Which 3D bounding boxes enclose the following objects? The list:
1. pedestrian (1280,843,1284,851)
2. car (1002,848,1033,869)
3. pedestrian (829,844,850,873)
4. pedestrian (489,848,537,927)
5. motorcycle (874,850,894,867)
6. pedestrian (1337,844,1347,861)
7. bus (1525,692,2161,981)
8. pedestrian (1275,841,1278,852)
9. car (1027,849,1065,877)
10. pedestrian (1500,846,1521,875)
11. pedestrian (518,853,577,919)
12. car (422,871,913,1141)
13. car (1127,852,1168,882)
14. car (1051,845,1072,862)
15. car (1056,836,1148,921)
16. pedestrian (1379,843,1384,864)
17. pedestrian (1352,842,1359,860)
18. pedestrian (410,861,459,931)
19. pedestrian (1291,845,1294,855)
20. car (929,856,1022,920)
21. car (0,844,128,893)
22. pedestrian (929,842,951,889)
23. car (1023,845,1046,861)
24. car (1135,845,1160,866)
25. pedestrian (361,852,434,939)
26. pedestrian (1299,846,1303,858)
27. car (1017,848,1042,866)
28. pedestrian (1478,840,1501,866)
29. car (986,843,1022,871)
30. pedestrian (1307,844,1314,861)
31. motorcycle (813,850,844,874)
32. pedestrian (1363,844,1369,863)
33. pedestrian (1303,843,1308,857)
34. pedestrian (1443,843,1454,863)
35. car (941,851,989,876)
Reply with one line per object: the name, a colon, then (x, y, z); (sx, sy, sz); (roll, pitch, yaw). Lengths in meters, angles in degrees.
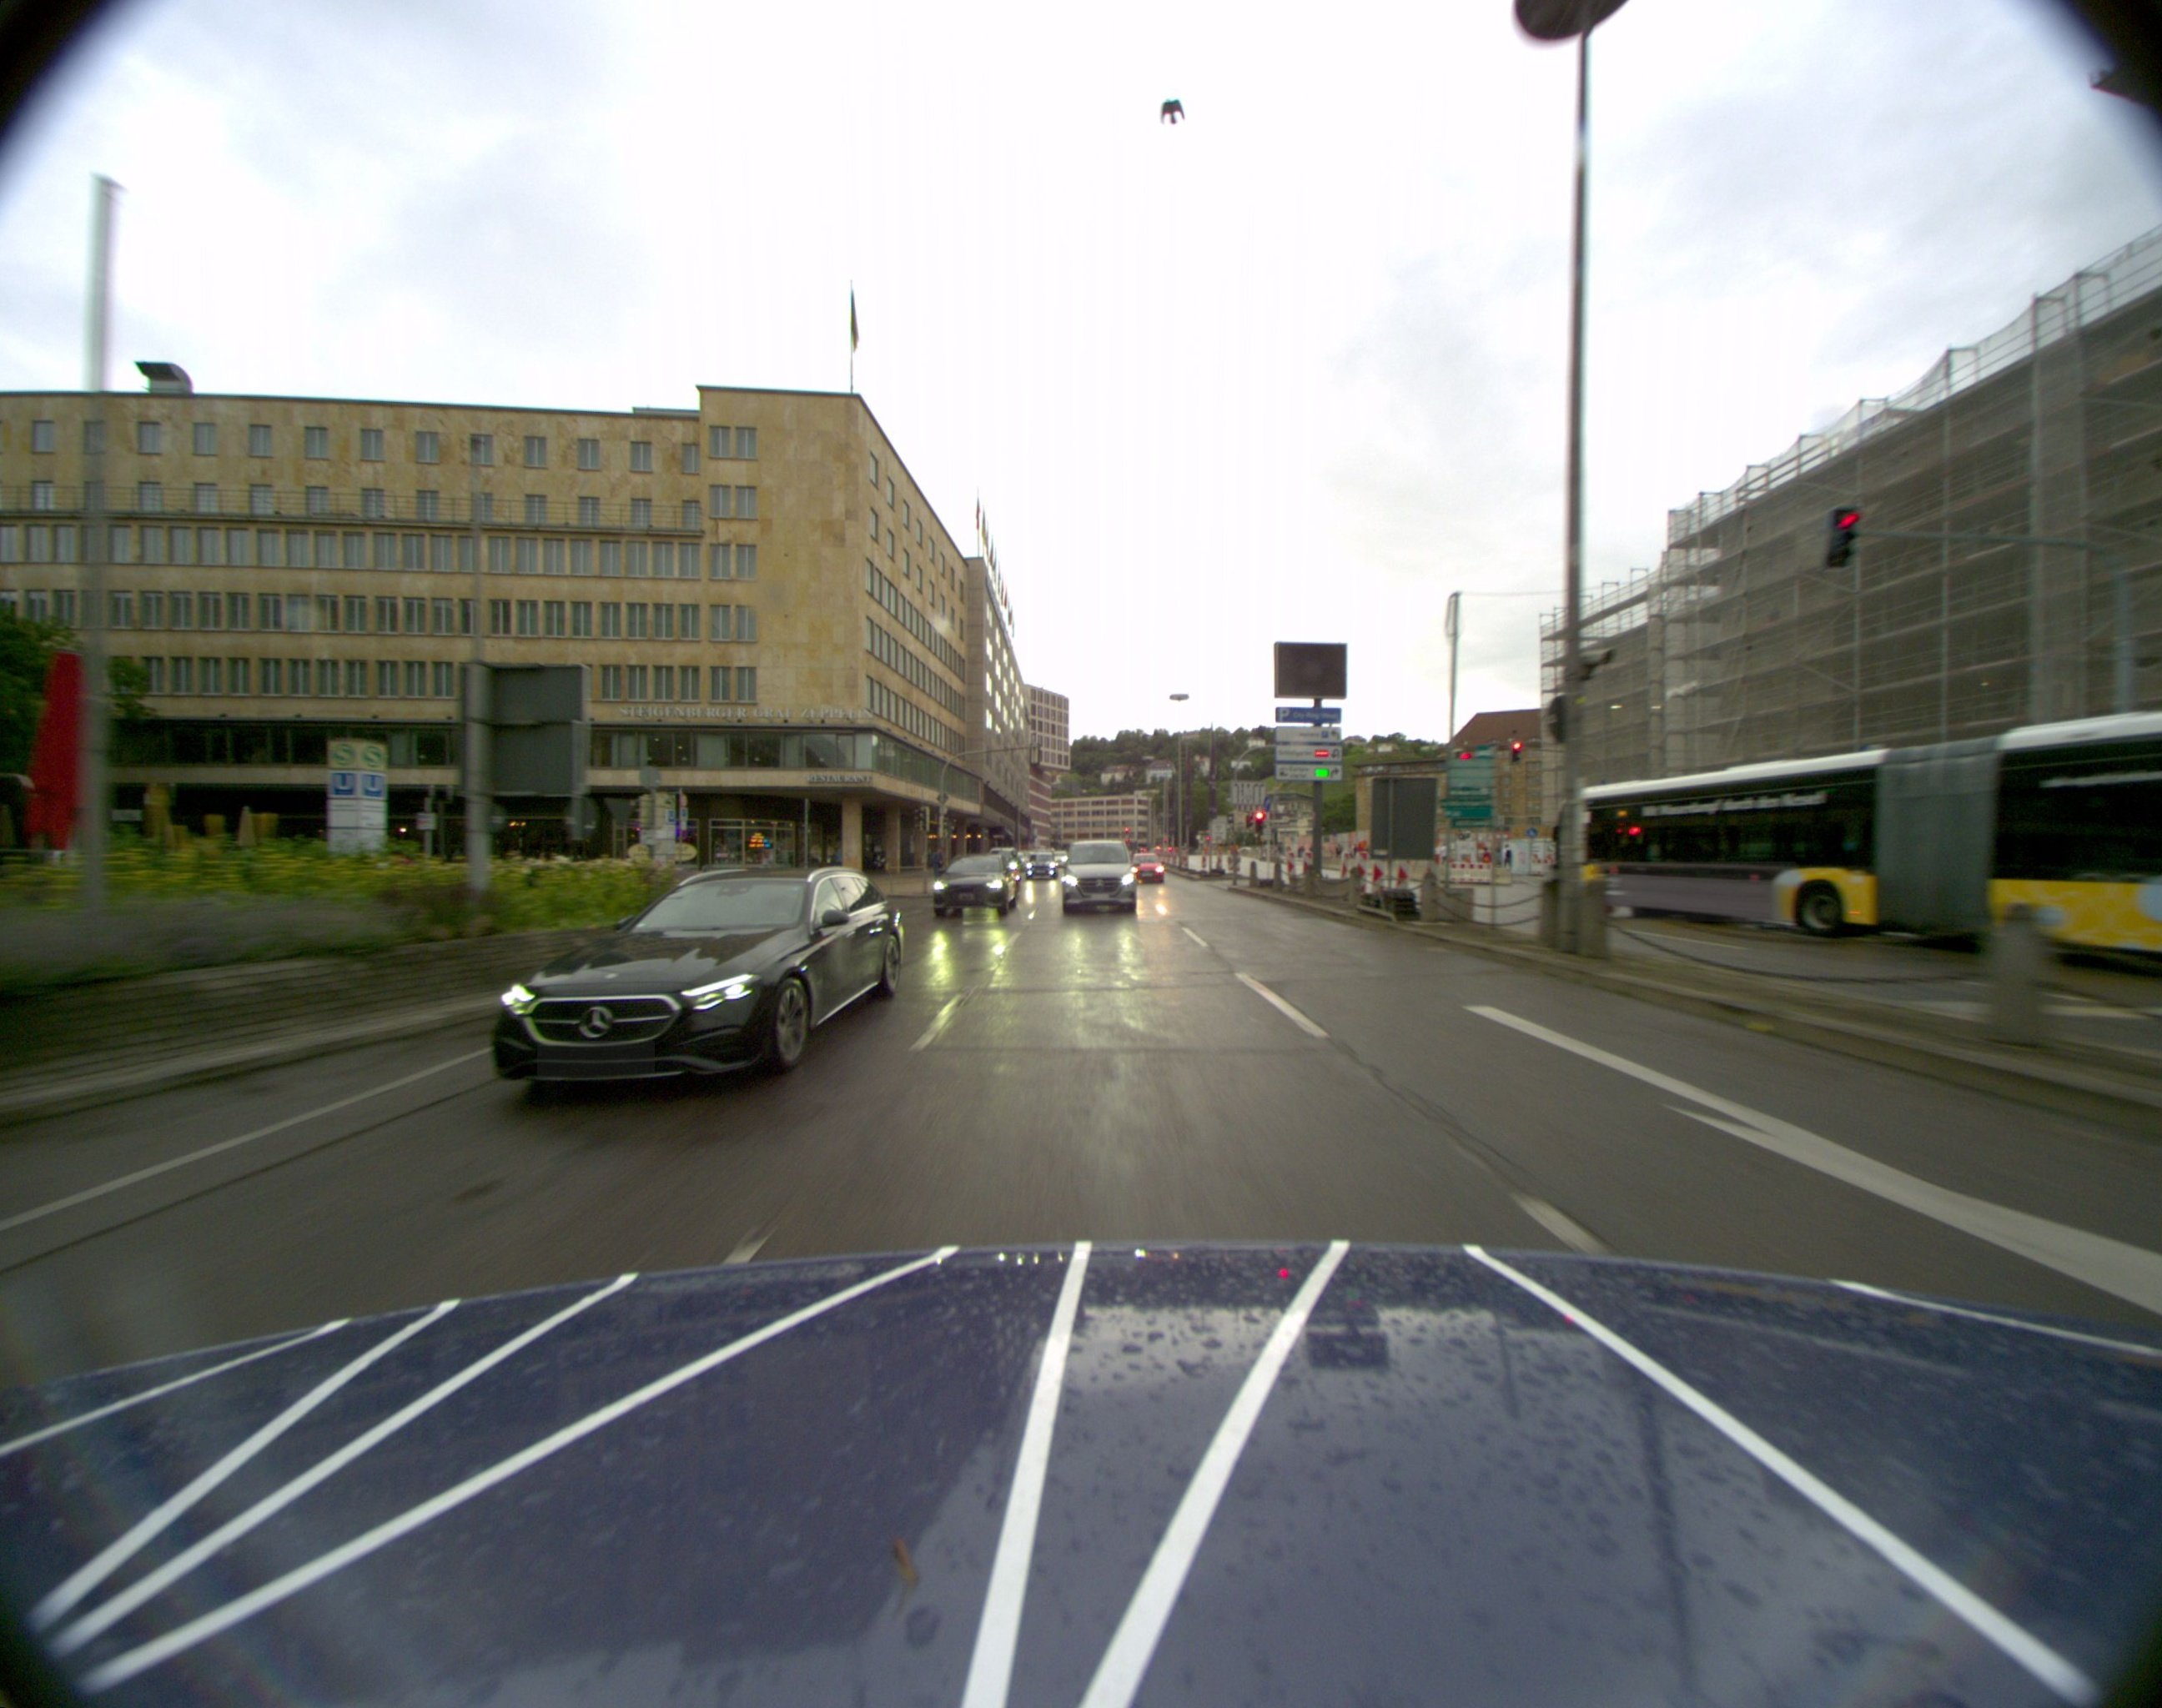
pedestrian: (30.531, -1.039, 115.412); (0.438, 1.233, 0.413); (-1, 1, 3)
car: (-5.064, 0.334, 60.922); (1.998, 1.644, 5.134); (-1, 0, 1)
pedestrian: (-15.562, 0.271, 48.966); (1.000, 1.836, 1.109); (0, 1, 2)
pedestrian: (-13.152, 0.759, 17.619); (0.536, 1.780, 0.681); (-1, 1, 3)
motorcycle: (-14.468, 0.324, 55.831); (0.730, 1.223, 2.536); (-1, 1, 1)
pedestrian: (26.126, -0.136, 76.159); (0.807, 1.675, 0.617); (0, 1, 4)
bus: (14.865, -0.245, 13.808); (2.916, 3.557, 19.077); (1, 1, 2)
pedestrian: (29.702, -1.113, 115.535); (0.375, 1.606, 0.357); (-1, 1, 1)
car: (-2.021, 0.499, 45.195); (1.998, 1.549, 3.908); (-1, 1, 1)
pedestrian: (25.634, 0.380, 45.350); (0.756, 1.655, 0.872); (-1, 1, 2)
pedestrian: (-14.661, 0.855, 20.910); (0.894, 1.751, 0.986); (-1, 1, 1)
car: (-3.004, 0.973, 6.911); (1.823, 1.455, 4.699); (-1, 0, 1)
car: (3.246, 0.590, 37.566); (1.747, 1.369, 4.000); (-1, 0, 1)
car: (-1.876, -0.051, 74.087); (1.763, 1.582, 3.842); (-1, 1, 1)
car: (0.391, 0.546, 20.102); (1.999, 1.893, 5.249); (-2, 0, -3)
pedestrian: (25.733, -0.054, 64.971); (0.314, 1.760, 0.268); (-1, 1, 4)
pedestrian: (27.429, -0.308, 75.883); (0.517, 1.745, 0.463); (-1, 1, 1)
pedestrian: (-14.546, 0.936, 17.116); (0.555, 1.520, 0.591); (-1, 1, 1)
pedestrian: (29.003, -0.579, 104.135); (0.271, 1.303, 0.351); (-1, 1, 1)
car: (-2.741, 0.837, 20.597); (1.876, 1.499, 4.164); (-1, 0, 1)
car: (-42.549, 0.590, 30.842); (5.162, 1.914, 2.000); (-1, 0, -1)
pedestrian: (-5.777, 0.459, 31.152); (0.674, 1.908, 0.792); (-1, 1, 1)
car: (-4.760, -0.098, 78.522); (1.998, 1.605, 4.918); (-1, 0, 1)
car: (5.293, 0.100, 60.995); (1.672, 1.513, 3.724); (-1, 1, 1)
pedestrian: (-14.057, 0.825, 15.652); (0.699, 1.741, 0.837); (-1, 1, -2)
pedestrian: (28.144, -0.259, 97.277); (0.438, 1.606, 0.413); (-1, 1, 1)
car: (-4.861, 0.244, 72.932); (1.998, 1.600, 4.876); (-1, 0, 1)
pedestrian: (24.560, -0.064, 45.700); (0.953, 1.558, 0.709); (0, 1, 2)
car: (-5.402, 0.207, 54.151); (1.998, 1.873, 4.996); (-1, 0, 1)
pedestrian: (27.857, -0.221, 92.150); (0.593, 2.022, 0.686); (-1, 1, 1)
motorcycle: (-16.248, 0.487, 48.980); (0.964, 1.444, 2.850); (-1, 1, 1)
pedestrian: (24.858, -0.027, 66.180); (0.400, 1.611, 0.365); (-1, 1, 5)
pedestrian: (27.220, -0.497, 92.147); (0.438, 1.606, 0.413); (-1, 1, 1)
pedestrian: (26.340, -0.079, 54.473); (0.565, 1.435, 0.528); (0, 1, 8)
car: (-7.009, 0.544, 46.490); (2.194, 1.405, 4.482); (-1, 0, 1)
